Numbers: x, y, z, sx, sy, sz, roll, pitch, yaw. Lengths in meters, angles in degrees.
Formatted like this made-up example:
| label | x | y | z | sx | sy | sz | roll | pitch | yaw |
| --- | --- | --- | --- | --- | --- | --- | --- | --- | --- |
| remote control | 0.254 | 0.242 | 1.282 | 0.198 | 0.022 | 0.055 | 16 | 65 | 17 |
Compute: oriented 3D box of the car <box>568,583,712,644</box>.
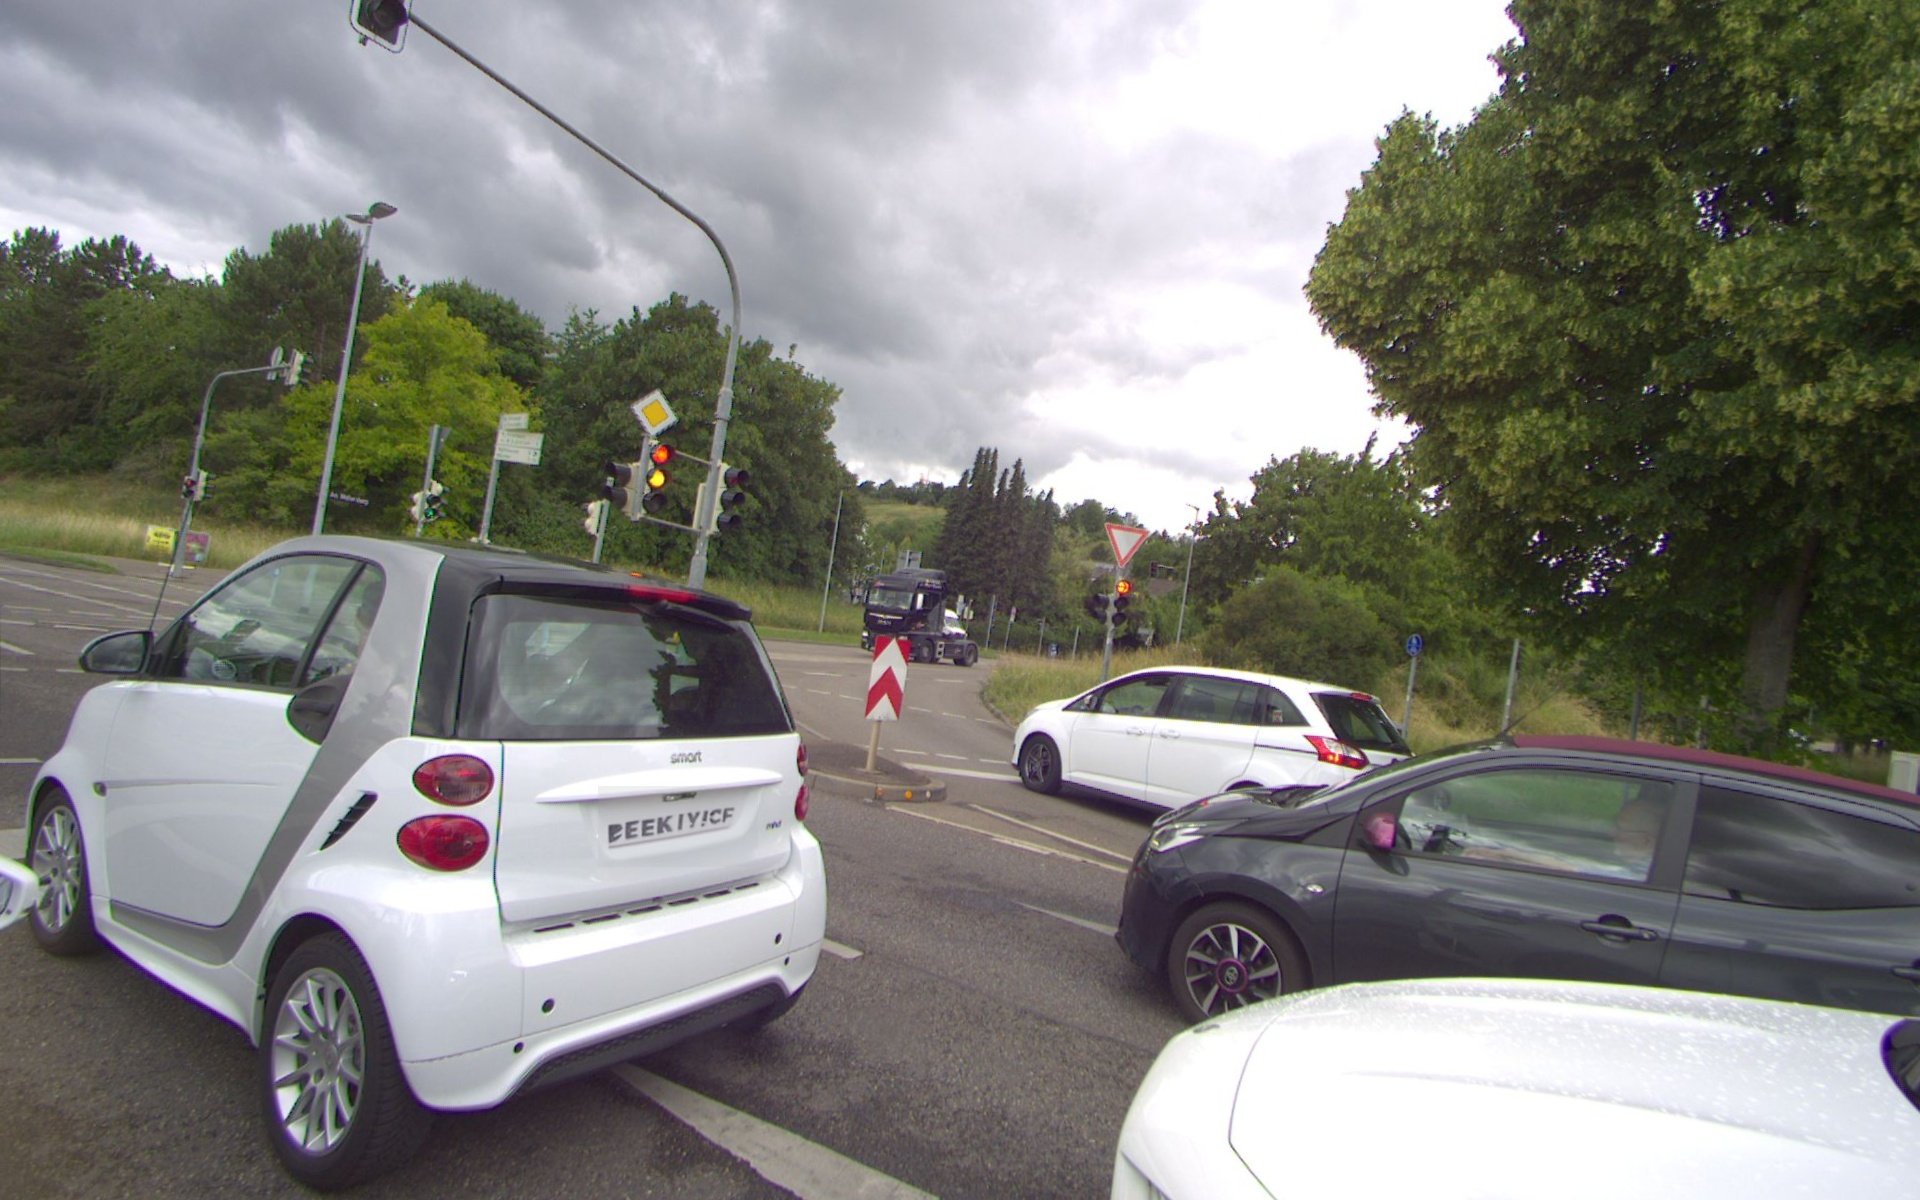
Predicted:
| label | x | y | z | sx | sy | sz | roll | pitch | yaw |
| --- | --- | --- | --- | --- | --- | --- | --- | --- | --- |
| car | -9.651 | 0.445 | 30.625 | 1.669 | 1.353 | 3.882 | 6 | -2 | 34 |

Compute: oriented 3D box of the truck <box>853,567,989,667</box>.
| label | x | y | z | sx | sy | sz | roll | pitch | yaw |
| --- | --- | --- | --- | --- | --- | --- | --- | --- | --- |
| truck | -1.535 | 0.824 | 42.957 | 2.646 | 3.526 | 6.010 | 6 | -2 | 31 |

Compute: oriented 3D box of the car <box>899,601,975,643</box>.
| label | x | y | z | sx | sy | sz | roll | pitch | yaw |
| --- | --- | --- | --- | --- | --- | --- | --- | --- | --- |
| car | -1.831 | 1.696 | 78.631 | 5.741 | 2.661 | 1.993 | 6 | -2 | 40 |

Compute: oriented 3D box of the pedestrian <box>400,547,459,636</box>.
| label | x | y | z | sx | sy | sz | roll | pitch | yaw |
| --- | --- | --- | --- | --- | --- | --- | --- | --- | --- |
| pedestrian | -10.658 | -0.169 | 20.196 | 0.703 | 1.681 | 0.644 | 6 | -1 | 38 |

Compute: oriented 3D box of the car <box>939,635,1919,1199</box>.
| label | x | y | z | sx | sy | sz | roll | pitch | yaw |
| --- | --- | --- | --- | --- | --- | --- | --- | --- | --- |
| car | 2.321 | 1.099 | 0.977 | 4.456 | 1.524 | 1.848 | 6 | -2 | 32 |

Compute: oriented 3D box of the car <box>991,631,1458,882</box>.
| label | x | y | z | sx | sy | sz | roll | pitch | yaw |
| --- | --- | --- | --- | --- | --- | --- | --- | --- | --- |
| car | 2.450 | 1.438 | 10.357 | 1.752 | 1.673 | 4.325 | 10 | -3 | -37 |

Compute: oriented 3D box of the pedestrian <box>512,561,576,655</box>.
| label | x | y | z | sx | sy | sz | roll | pitch | yaw |
| --- | --- | --- | --- | --- | --- | --- | --- | --- | --- |
| pedestrian | -7.691 | 0.145 | 18.603 | 0.703 | 1.631 | 0.644 | 6 | -1 | 37 |

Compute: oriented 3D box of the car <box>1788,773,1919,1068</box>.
| label | x | y | z | sx | sy | sz | roll | pitch | yaw |
| --- | --- | --- | --- | --- | --- | --- | --- | --- | --- |
| car | 6.908 | 2.043 | 5.481 | 3.511 | 1.524 | 1.603 | 6 | -2 | 38 |

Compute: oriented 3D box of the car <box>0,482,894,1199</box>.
| label | x | y | z | sx | sy | sz | roll | pitch | yaw |
| --- | --- | --- | --- | --- | --- | --- | --- | --- | --- |
| car | -1.874 | 0.537 | 3.542 | 2.721 | 1.533 | 1.595 | 6 | -2 | 33 |

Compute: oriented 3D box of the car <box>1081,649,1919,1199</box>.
| label | x | y | z | sx | sy | sz | roll | pitch | yaw |
| --- | --- | --- | --- | --- | --- | --- | --- | --- | --- |
| car | 2.649 | 1.201 | 4.159 | 3.816 | 1.470 | 1.616 | 6 | -2 | 30 |
